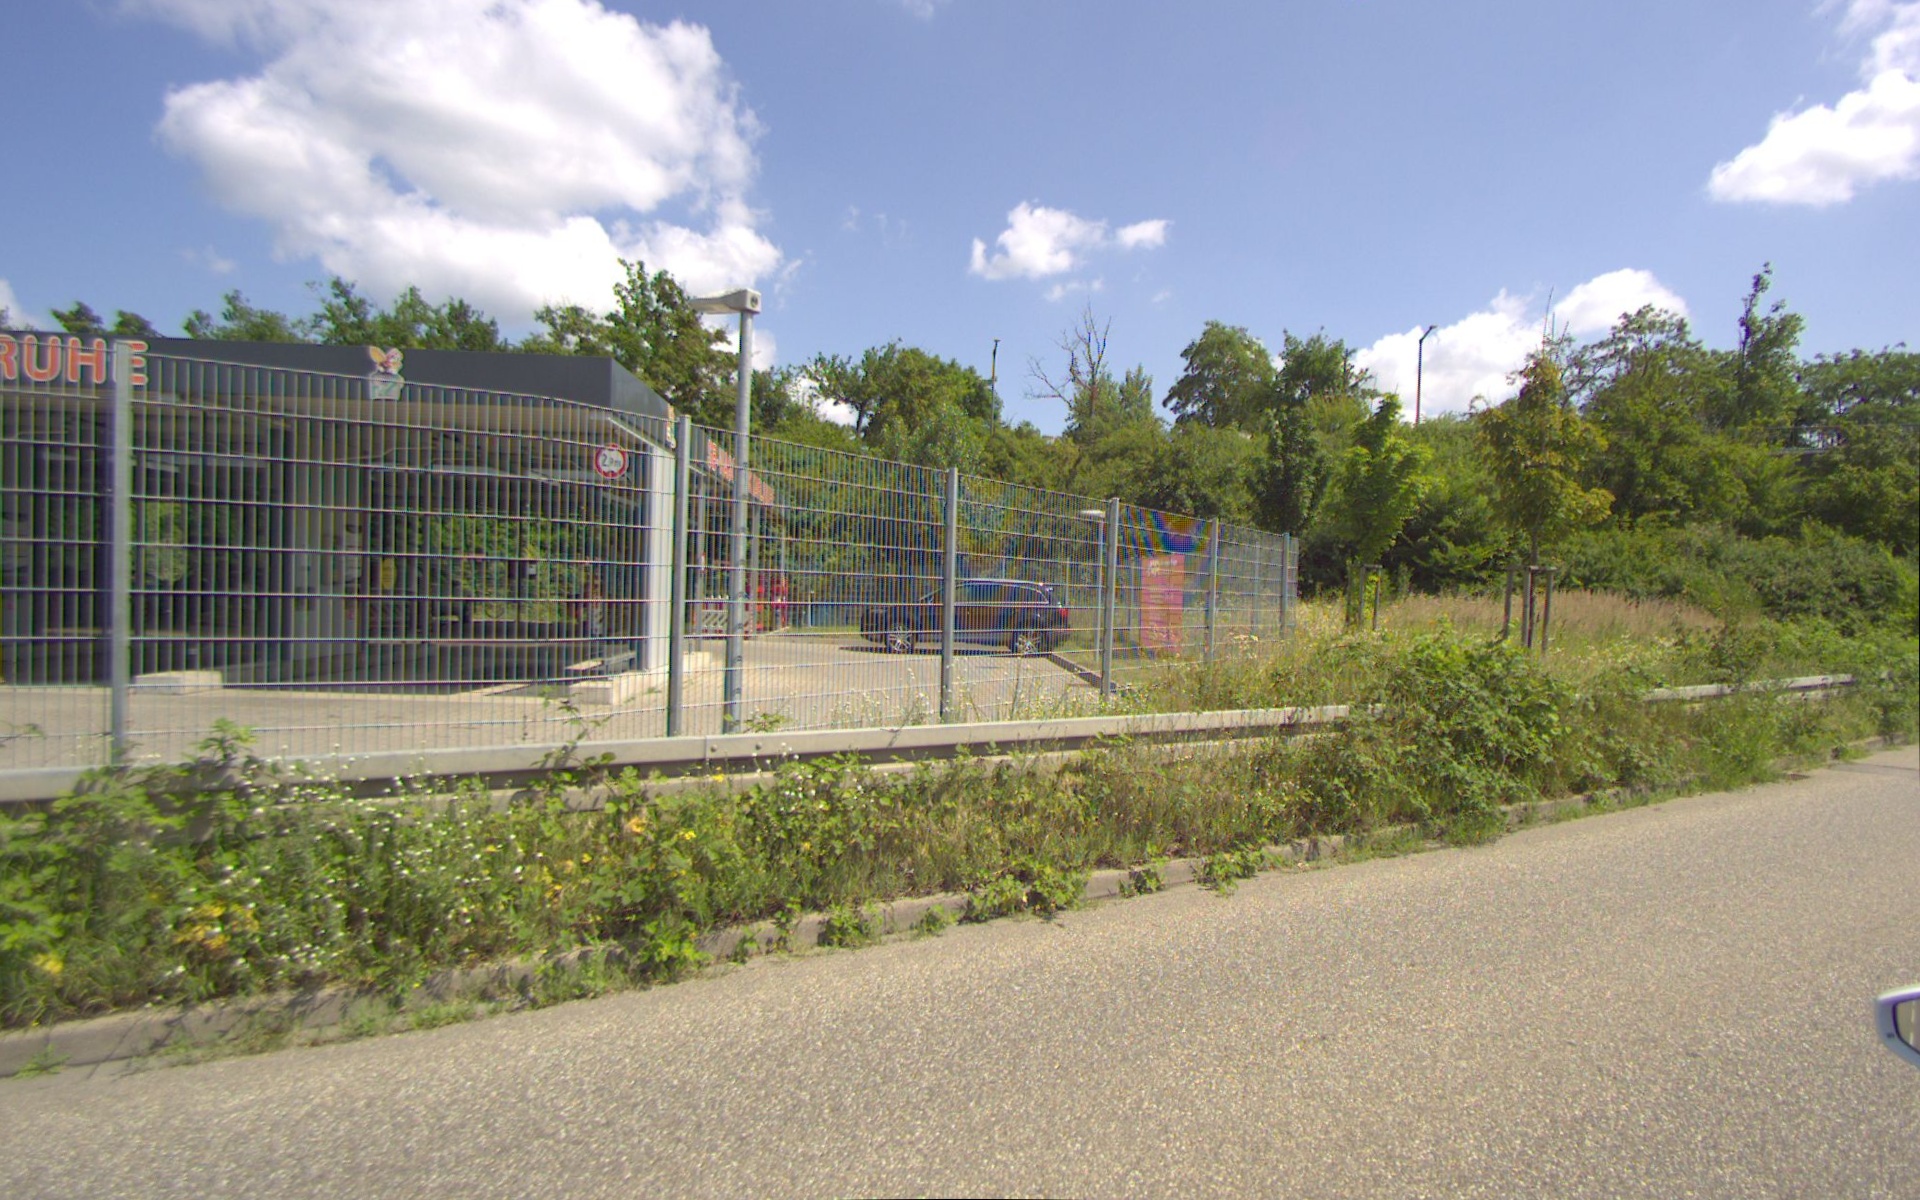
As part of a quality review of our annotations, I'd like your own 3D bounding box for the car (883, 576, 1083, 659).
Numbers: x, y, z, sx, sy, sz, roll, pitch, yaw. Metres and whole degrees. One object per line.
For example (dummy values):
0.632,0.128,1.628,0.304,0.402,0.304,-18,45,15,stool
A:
0.476,0.374,23.642,4.459,1.716,1.999,2,2,-3,car
